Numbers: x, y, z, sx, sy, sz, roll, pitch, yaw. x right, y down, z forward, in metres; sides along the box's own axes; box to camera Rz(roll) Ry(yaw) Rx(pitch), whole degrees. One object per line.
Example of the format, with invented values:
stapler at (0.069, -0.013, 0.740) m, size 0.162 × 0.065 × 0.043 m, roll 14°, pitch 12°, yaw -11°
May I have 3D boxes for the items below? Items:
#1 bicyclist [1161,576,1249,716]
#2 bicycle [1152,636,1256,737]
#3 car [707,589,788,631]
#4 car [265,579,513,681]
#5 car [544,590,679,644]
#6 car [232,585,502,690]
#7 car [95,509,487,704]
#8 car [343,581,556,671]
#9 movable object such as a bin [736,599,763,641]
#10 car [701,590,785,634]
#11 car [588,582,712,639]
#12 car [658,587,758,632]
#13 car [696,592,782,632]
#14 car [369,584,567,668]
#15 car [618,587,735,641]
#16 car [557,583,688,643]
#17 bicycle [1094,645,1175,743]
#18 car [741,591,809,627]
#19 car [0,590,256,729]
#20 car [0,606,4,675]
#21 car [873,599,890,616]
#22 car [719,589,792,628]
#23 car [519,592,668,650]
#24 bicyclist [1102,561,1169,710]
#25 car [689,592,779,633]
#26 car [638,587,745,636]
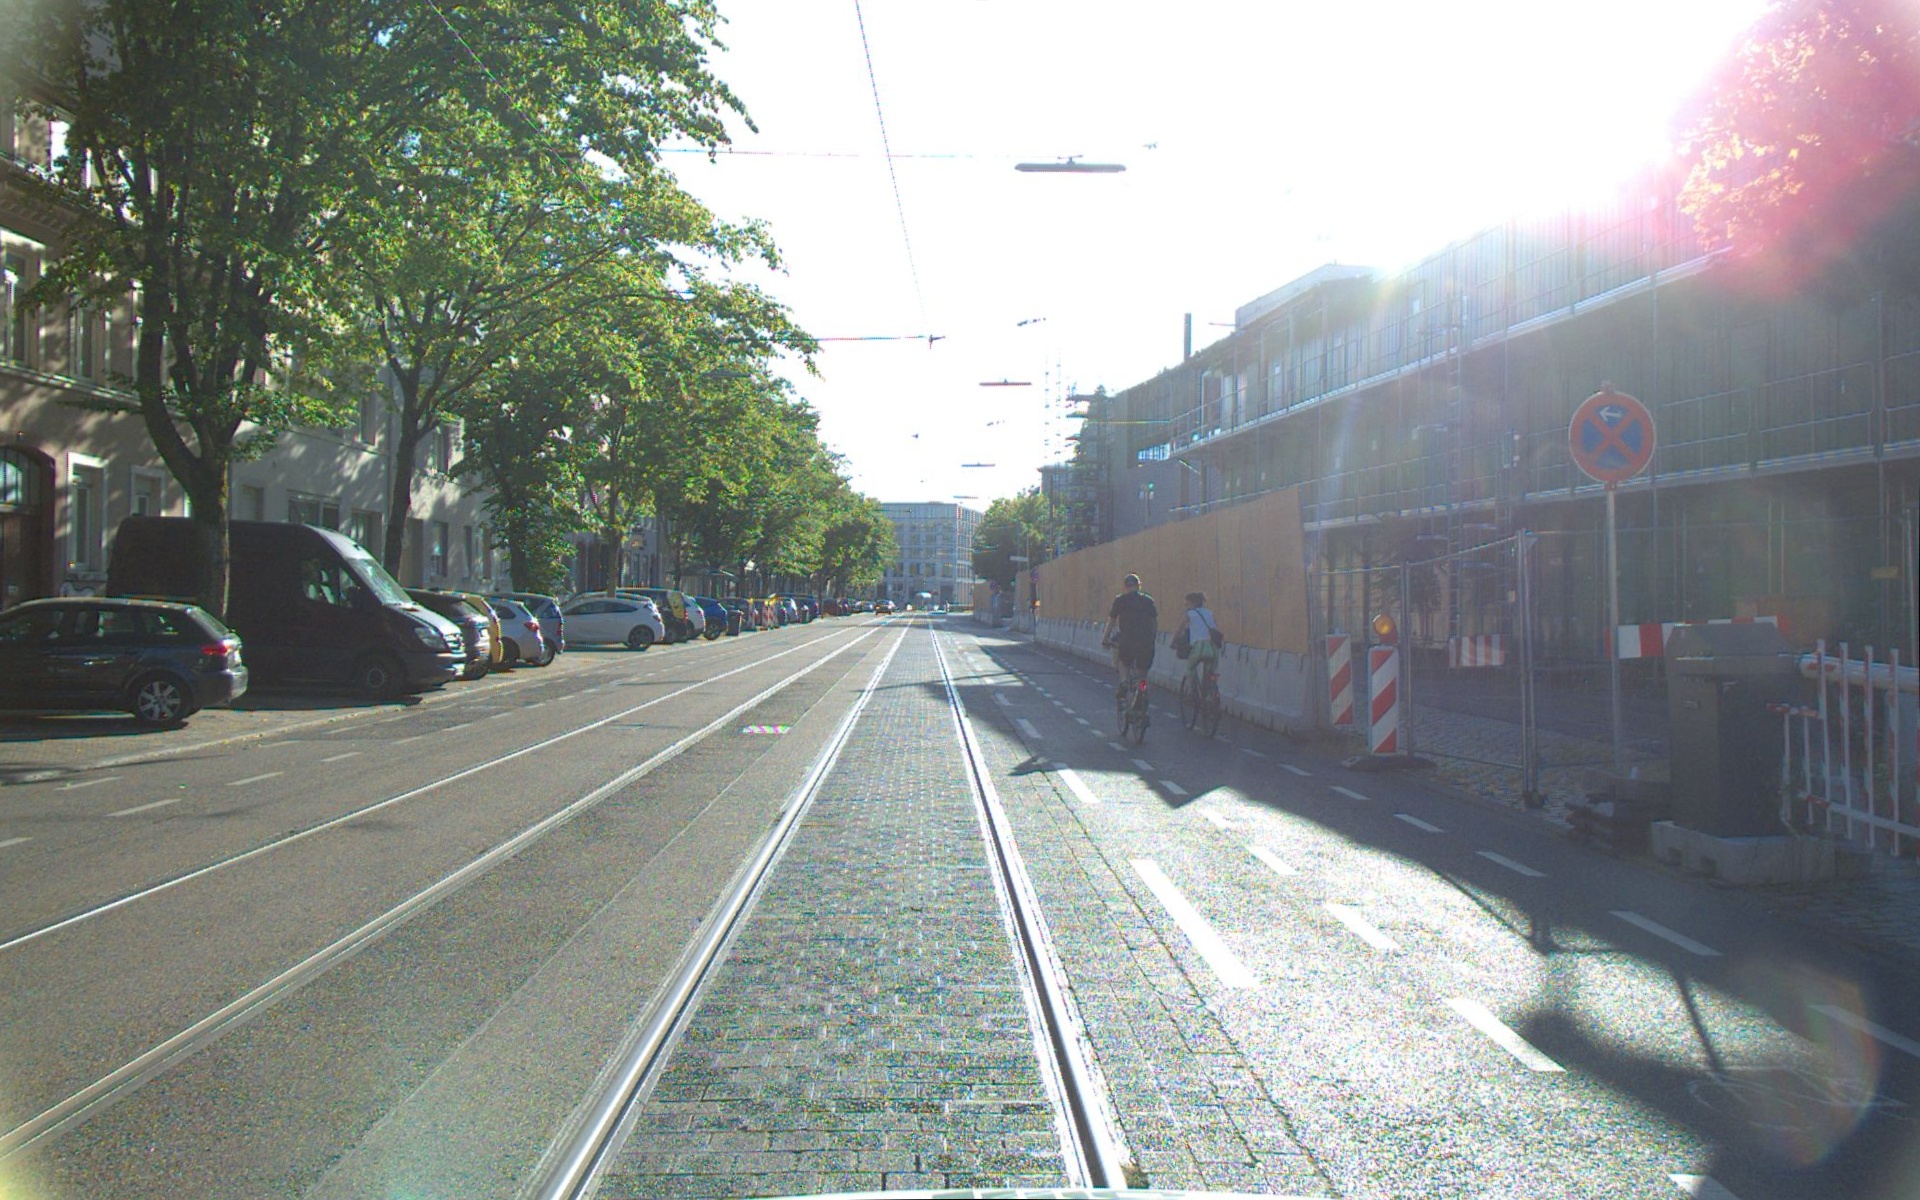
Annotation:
bicyclist at (3.031, 0.554, 20.544) m, size 0.875 × 1.668 × 1.100 m, roll 2°, pitch 0°, yaw -1°
bicycle at (3.013, 1.047, 20.668) m, size 0.875 × 1.112 × 2.430 m, roll 2°, pitch 0°, yaw -1°
car at (-11.880, 0.559, 92.449) m, size 4.032 × 2.090 × 1.815 m, roll 4°, pitch -1°, yaw -24°
car at (-10.592, 0.555, 30.956) m, size 4.011 × 1.636 × 1.825 m, roll 3°, pitch -1°, yaw -9°
car at (-11.339, 0.550, 53.787) m, size 4.029 × 1.478 × 1.817 m, roll 4°, pitch -1°, yaw -22°
car at (-10.038, 0.635, 28.275) m, size 4.011 × 1.636 × 1.825 m, roll 2°, pitch -1°, yaw -9°
car at (-10.289, 0.119, 25.846) m, size 5.080 × 2.623 × 2.243 m, roll 3°, pitch -1°, yaw -5°
car at (-10.805, 0.550, 35.243) m, size 4.011 × 1.636 × 1.825 m, roll 3°, pitch -1°, yaw -9°
movable object such as a bin at (-8.967, 0.855, 70.590) m, size 0.889 × 1.696 × 0.759 m, roll 4°, pitch -1°, yaw -23°
car at (-11.582, 0.614, 88.217) m, size 4.032 × 2.090 × 1.815 m, roll 4°, pitch -1°, yaw -24°
car at (-11.141, 0.382, 59.509) m, size 4.032 × 1.784 × 1.815 m, roll 4°, pitch -1°, yaw -24°
car at (-11.276, 0.429, 74.029) m, size 4.032 × 1.784 × 1.815 m, roll 4°, pitch -1°, yaw -24°
car at (-11.402, 0.611, 85.285) m, size 4.032 × 1.784 × 1.815 m, roll 4°, pitch -1°, yaw -24°
car at (-11.162, 0.591, 37.770) m, size 4.011 × 1.636 × 1.825 m, roll 3°, pitch -1°, yaw -9°
car at (-10.767, 0.527, 62.821) m, size 4.032 × 1.784 × 1.815 m, roll 4°, pitch -1°, yaw -24°
car at (-11.498, 0.433, 56.359) m, size 4.032 × 1.784 × 1.815 m, roll 4°, pitch -1°, yaw -24°
bicycle at (2.012, 1.064, 19.270) m, size 0.666 × 1.036 × 1.920 m, roll 0°, pitch 0°, yaw -2°
car at (-12.227, 0.607, 109.536) m, size 4.032 × 2.090 × 1.815 m, roll 4°, pitch -1°, yaw -24°
car at (-10.587, 0.652, 19.432) m, size 4.024 × 1.444 × 1.819 m, roll 4°, pitch -1°, yaw -19°
car at (-10.155, 0.651, 13.083) m, size 4.012 × 1.444 × 1.824 m, roll 3°, pitch -1°, yaw -10°
car at (-9.071, 0.910, 191.266) m, size 1.648 × 1.869 × 3.868 m, roll 3°, pitch -1°, yaw -5°
car at (-12.491, 0.519, 100.940) m, size 4.032 × 2.090 × 1.815 m, roll 4°, pitch -1°, yaw -24°
car at (-10.892, 0.628, 49.126) m, size 4.029 × 1.478 × 1.817 m, roll 4°, pitch -1°, yaw -22°
bicyclist at (2.021, 0.401, 19.121) m, size 0.666 × 1.687 × 0.811 m, roll 0°, pitch -1°, yaw -2°
car at (-11.183, 0.619, 81.946) m, size 4.032 × 1.784 × 1.815 m, roll 4°, pitch -1°, yaw -24°
car at (-11.249, 0.491, 69.331) m, size 4.032 × 1.784 × 1.815 m, roll 4°, pitch -1°, yaw -24°
